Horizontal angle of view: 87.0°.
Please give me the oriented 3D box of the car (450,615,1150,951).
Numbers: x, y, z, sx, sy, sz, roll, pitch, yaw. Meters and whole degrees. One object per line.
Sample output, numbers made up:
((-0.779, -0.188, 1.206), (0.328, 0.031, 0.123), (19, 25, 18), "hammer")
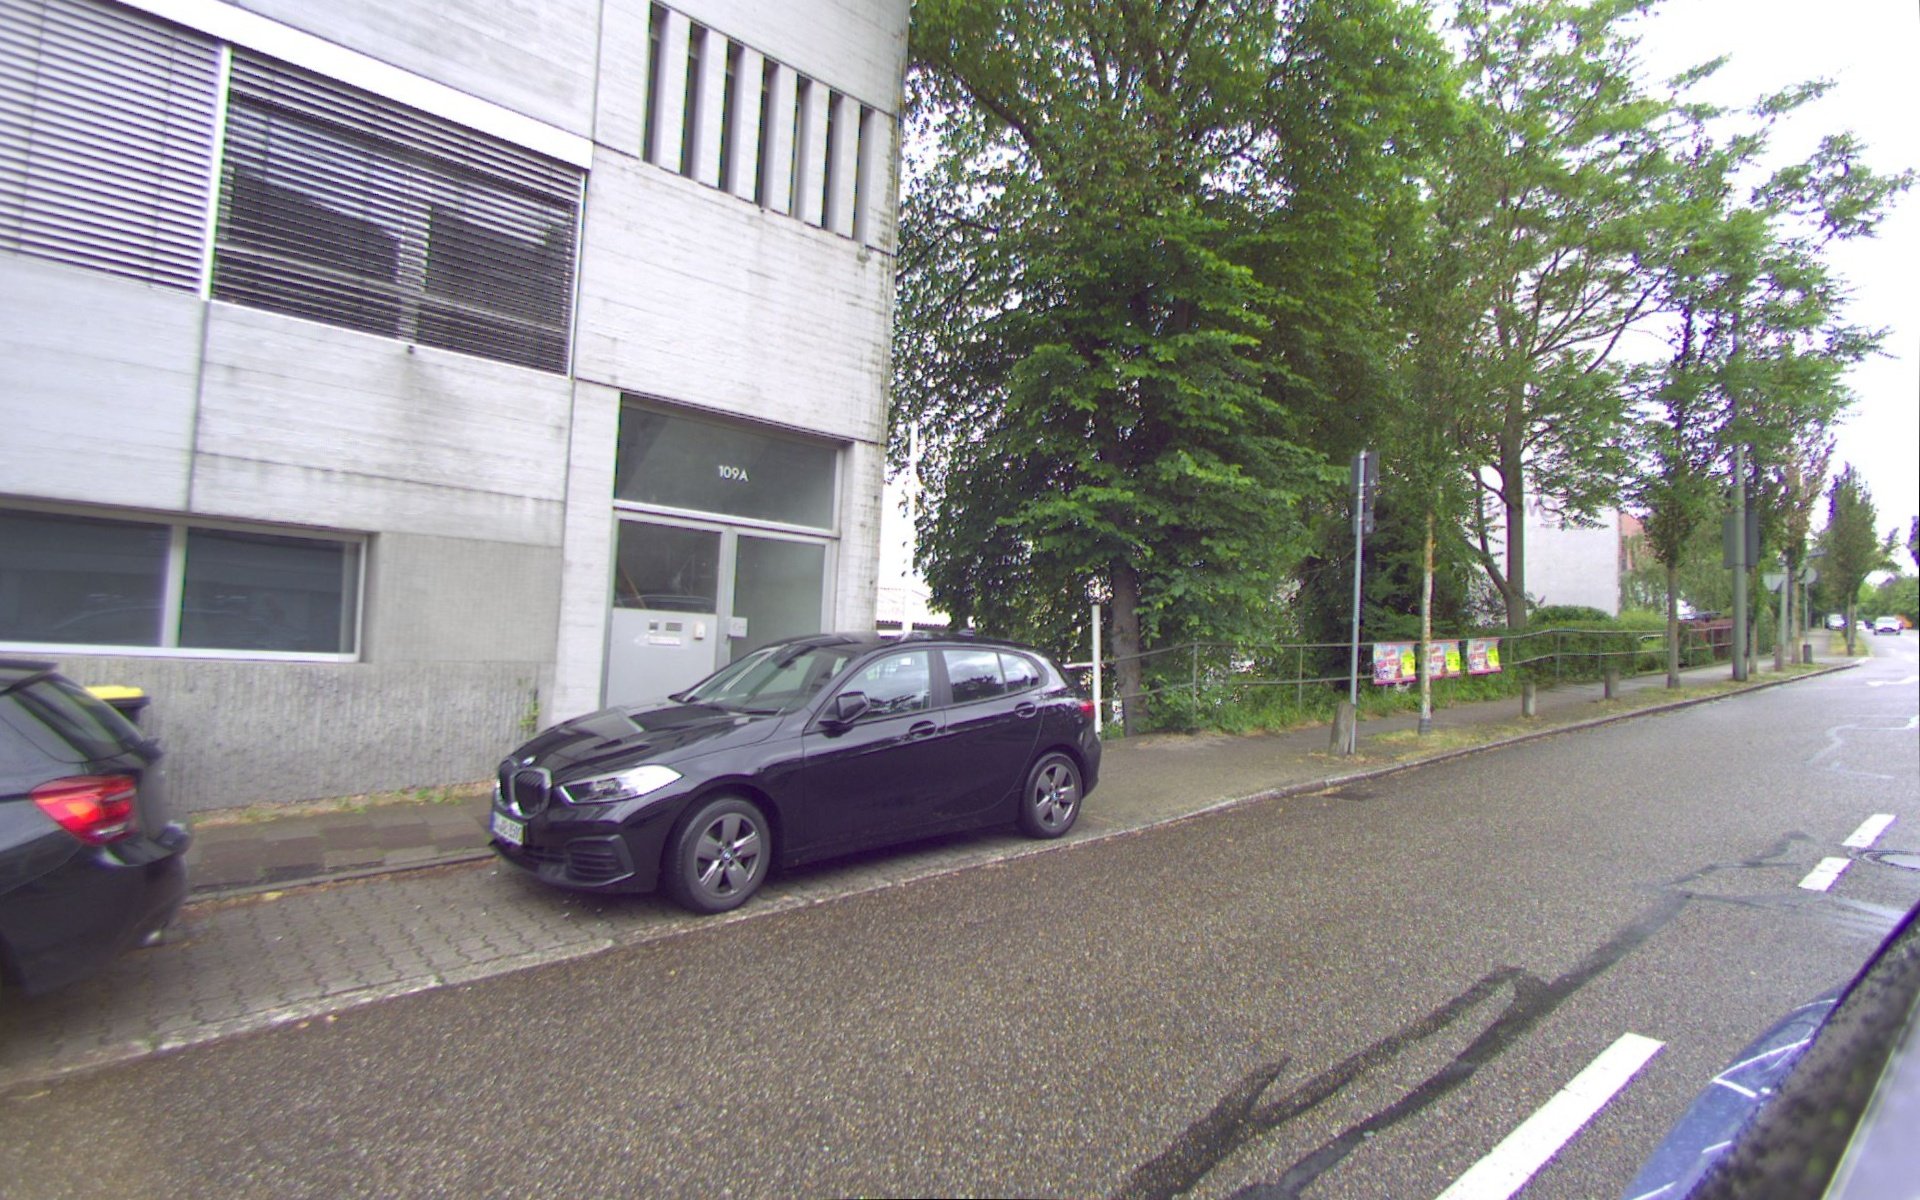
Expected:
((-0.839, 0.884, 6.924), (4.367, 1.453, 1.996), (0, 1, -43), "car")

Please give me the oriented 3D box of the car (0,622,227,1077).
((-4.903, 0.849, 3.164), (4.173, 1.466, 1.753), (0, 0, -38), "car")

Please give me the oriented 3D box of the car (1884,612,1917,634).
((80.132, 1.946, 86.229), (1.888, 1.741, 4.169), (2, 2, 45), "car")
